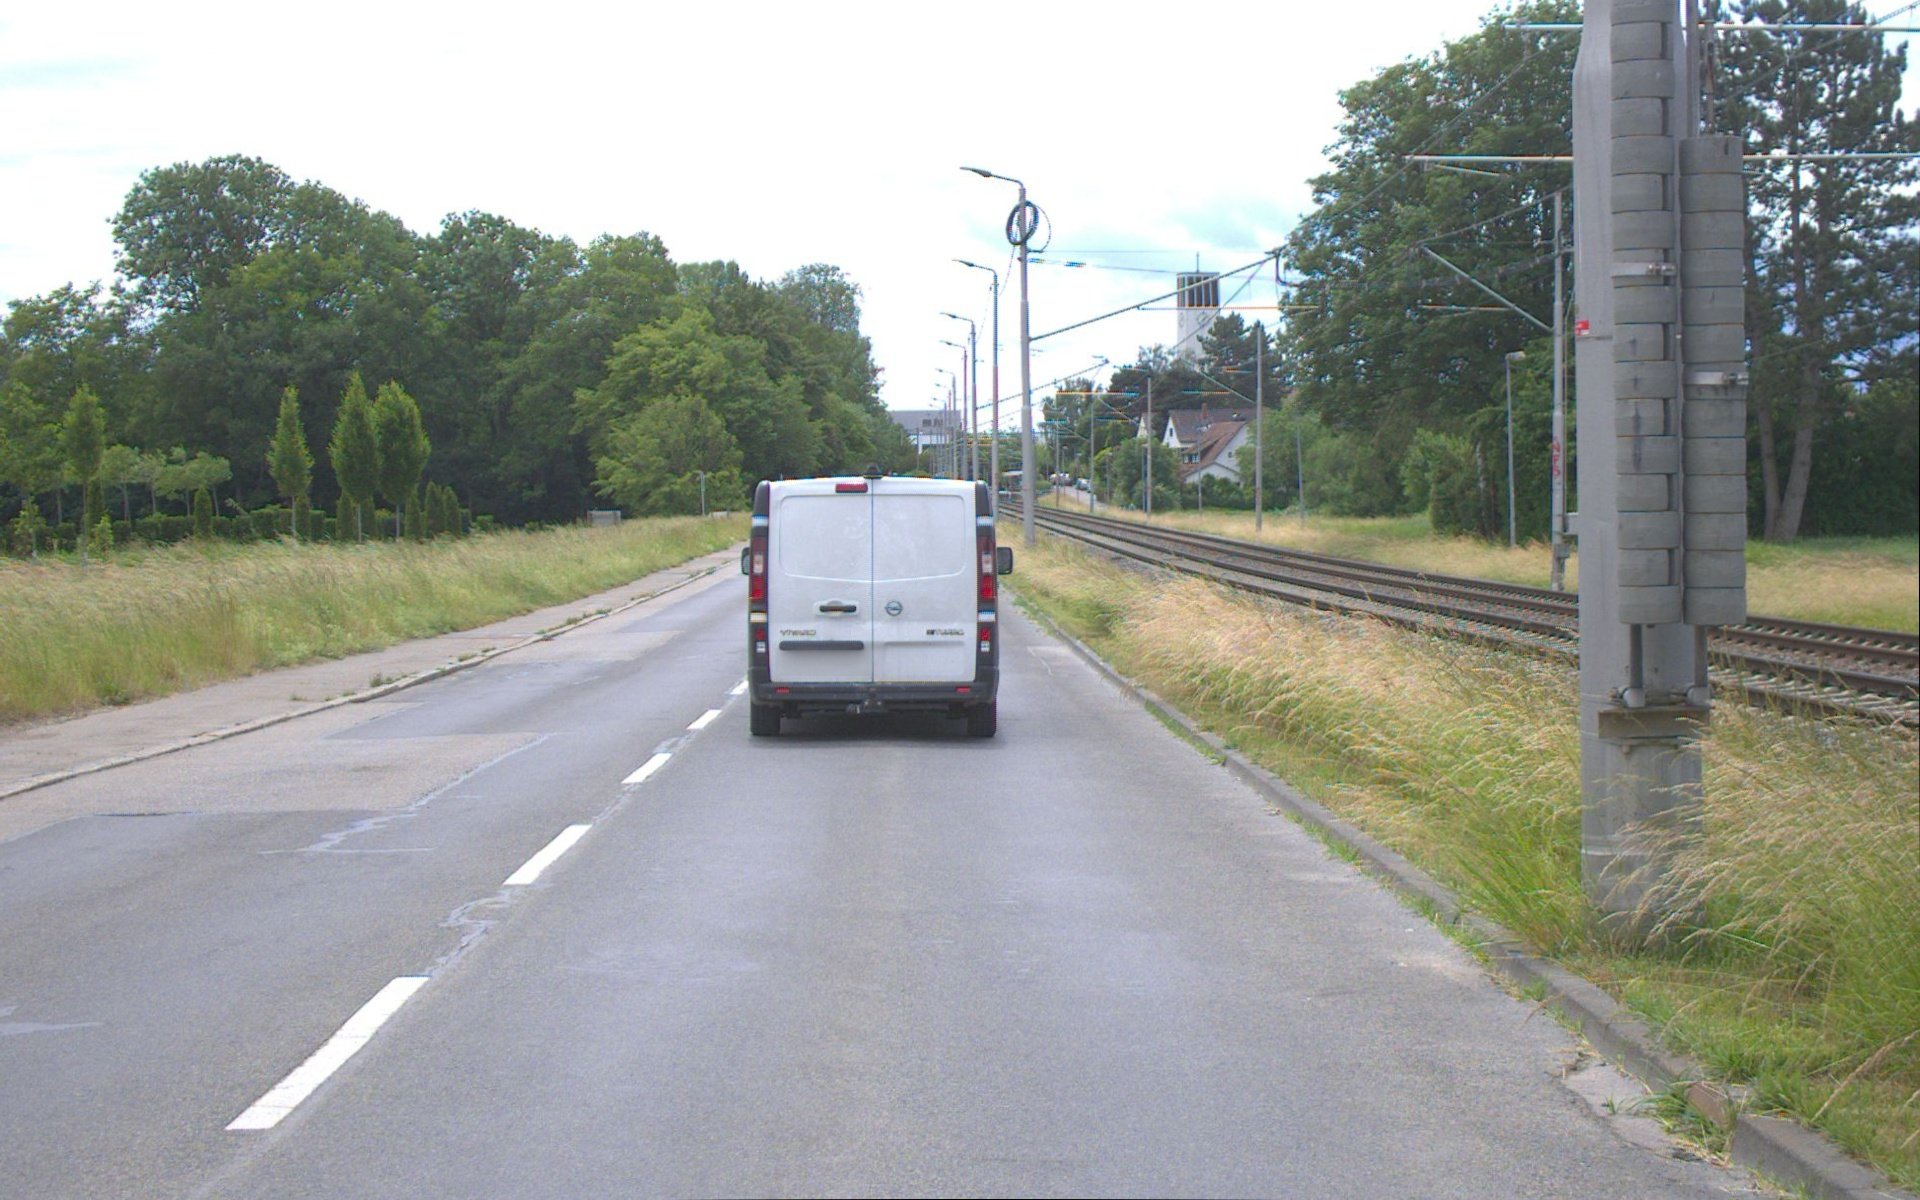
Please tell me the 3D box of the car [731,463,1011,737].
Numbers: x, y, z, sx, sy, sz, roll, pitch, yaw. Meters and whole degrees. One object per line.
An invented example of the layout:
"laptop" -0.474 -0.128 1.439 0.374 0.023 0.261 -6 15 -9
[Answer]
"car" -0.703 -0.037 26.687 1.993 1.950 4.000 -1 1 -2
